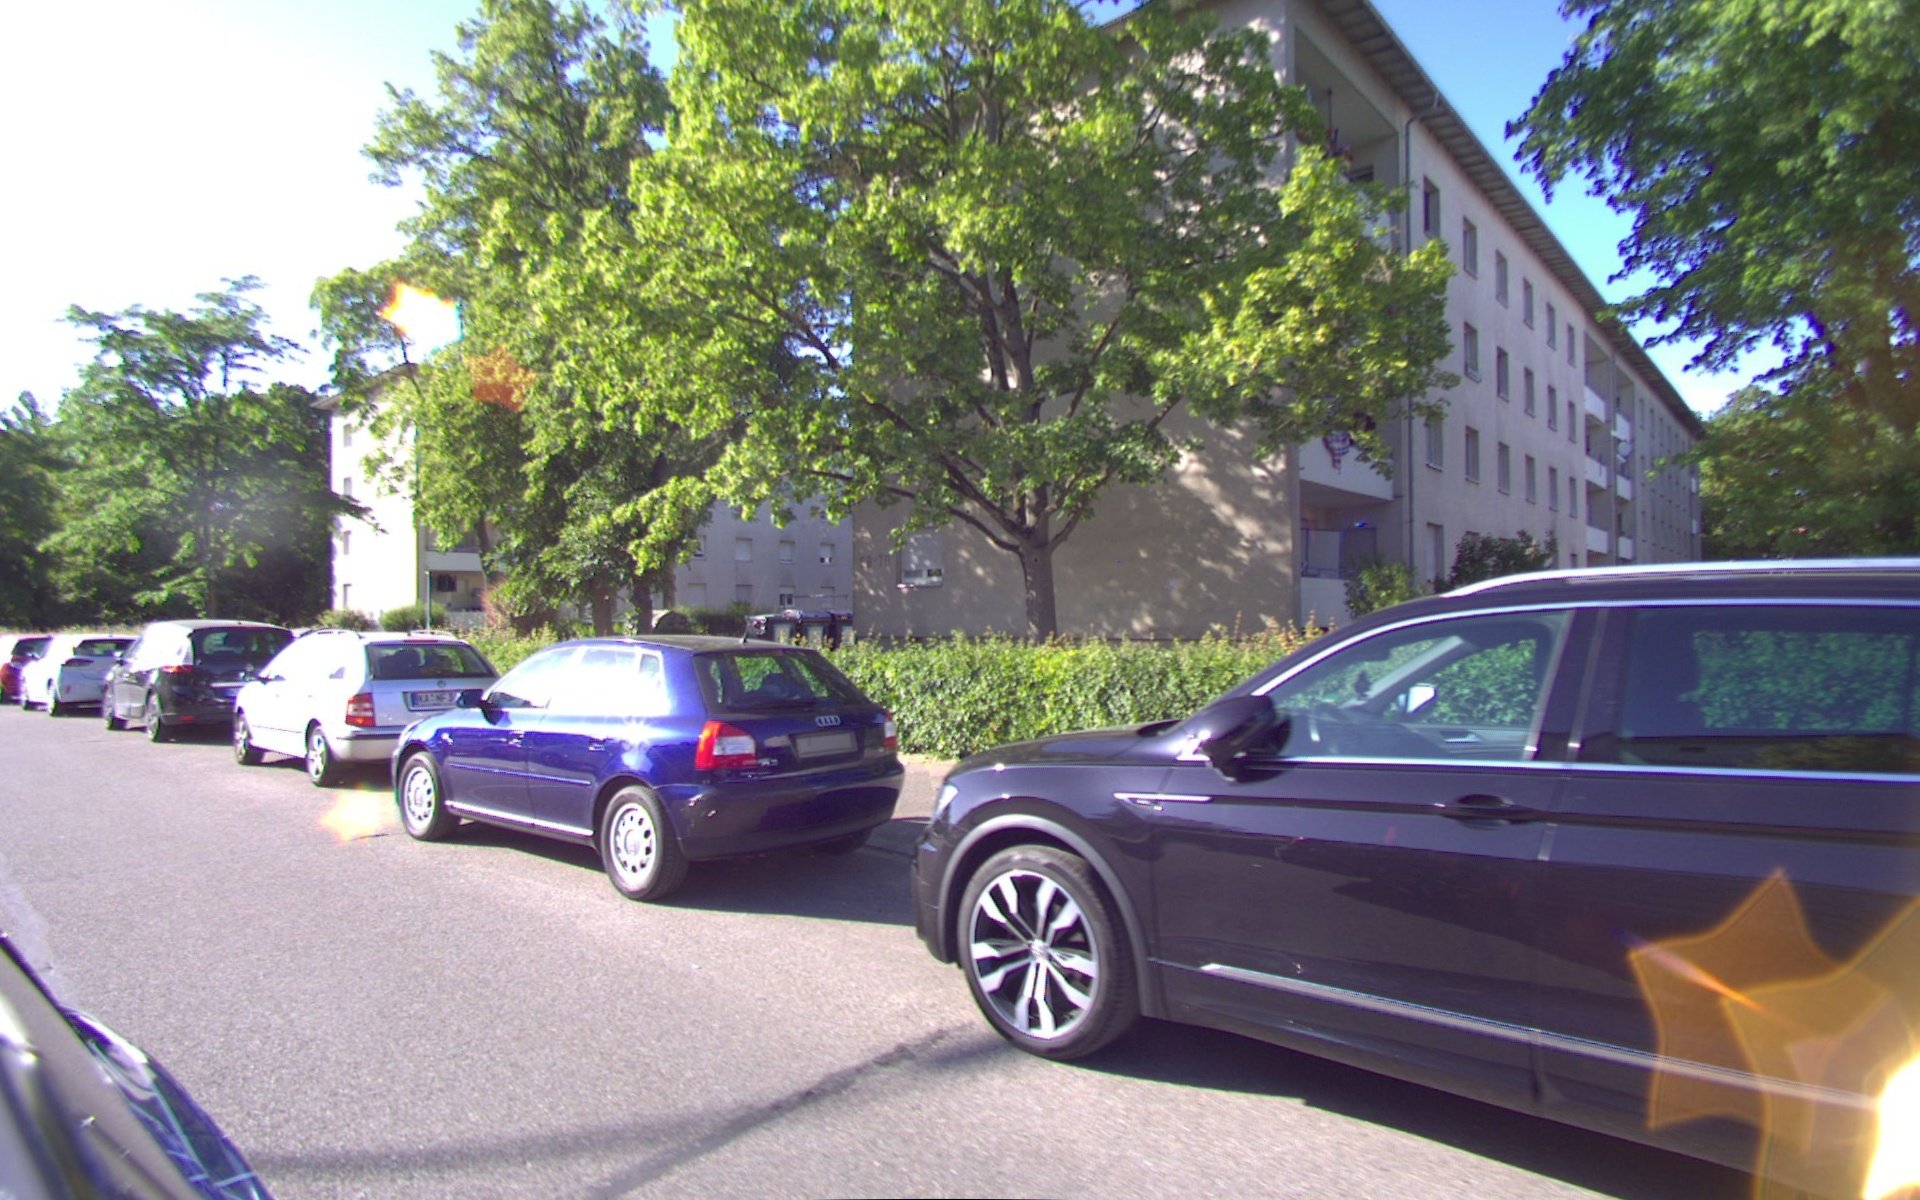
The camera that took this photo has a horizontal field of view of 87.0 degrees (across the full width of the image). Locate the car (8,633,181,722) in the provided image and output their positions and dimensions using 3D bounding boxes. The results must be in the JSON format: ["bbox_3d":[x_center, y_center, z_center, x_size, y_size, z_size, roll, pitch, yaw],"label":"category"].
[{"bbox_3d":[-16.358,1.387,19.082,3.936,1.490,1.788,-2,-3,39],"label":"car"}]

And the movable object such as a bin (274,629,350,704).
[{"bbox_3d":[-13.171,1.332,20.572,1.263,1.425,0.886,-2,1,38],"label":"movable object such as a bin"}]

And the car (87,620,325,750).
[{"bbox_3d":[-11.070,1.138,14.748,4.428,1.618,1.788,-2,-3,40],"label":"car"}]

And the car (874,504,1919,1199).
[{"bbox_3d":[1.882,0.697,3.110,4.388,1.681,1.736,-2,-3,41],"label":"car"}]

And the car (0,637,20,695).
[{"bbox_3d":[-26.176,1.727,26.571,3.100,1.490,1.638,-2,-3,37],"label":"car"}]

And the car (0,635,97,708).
[{"bbox_3d":[-20.642,1.523,22.331,3.873,1.490,1.616,-2,-3,37],"label":"car"}]

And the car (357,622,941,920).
[{"bbox_3d":[-2.240,0.875,6.701,4.165,1.396,1.622,-2,-3,38],"label":"car"}]

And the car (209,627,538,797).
[{"bbox_3d":[-6.301,1.036,10.686,4.148,1.448,1.736,-2,-3,41],"label":"car"}]
